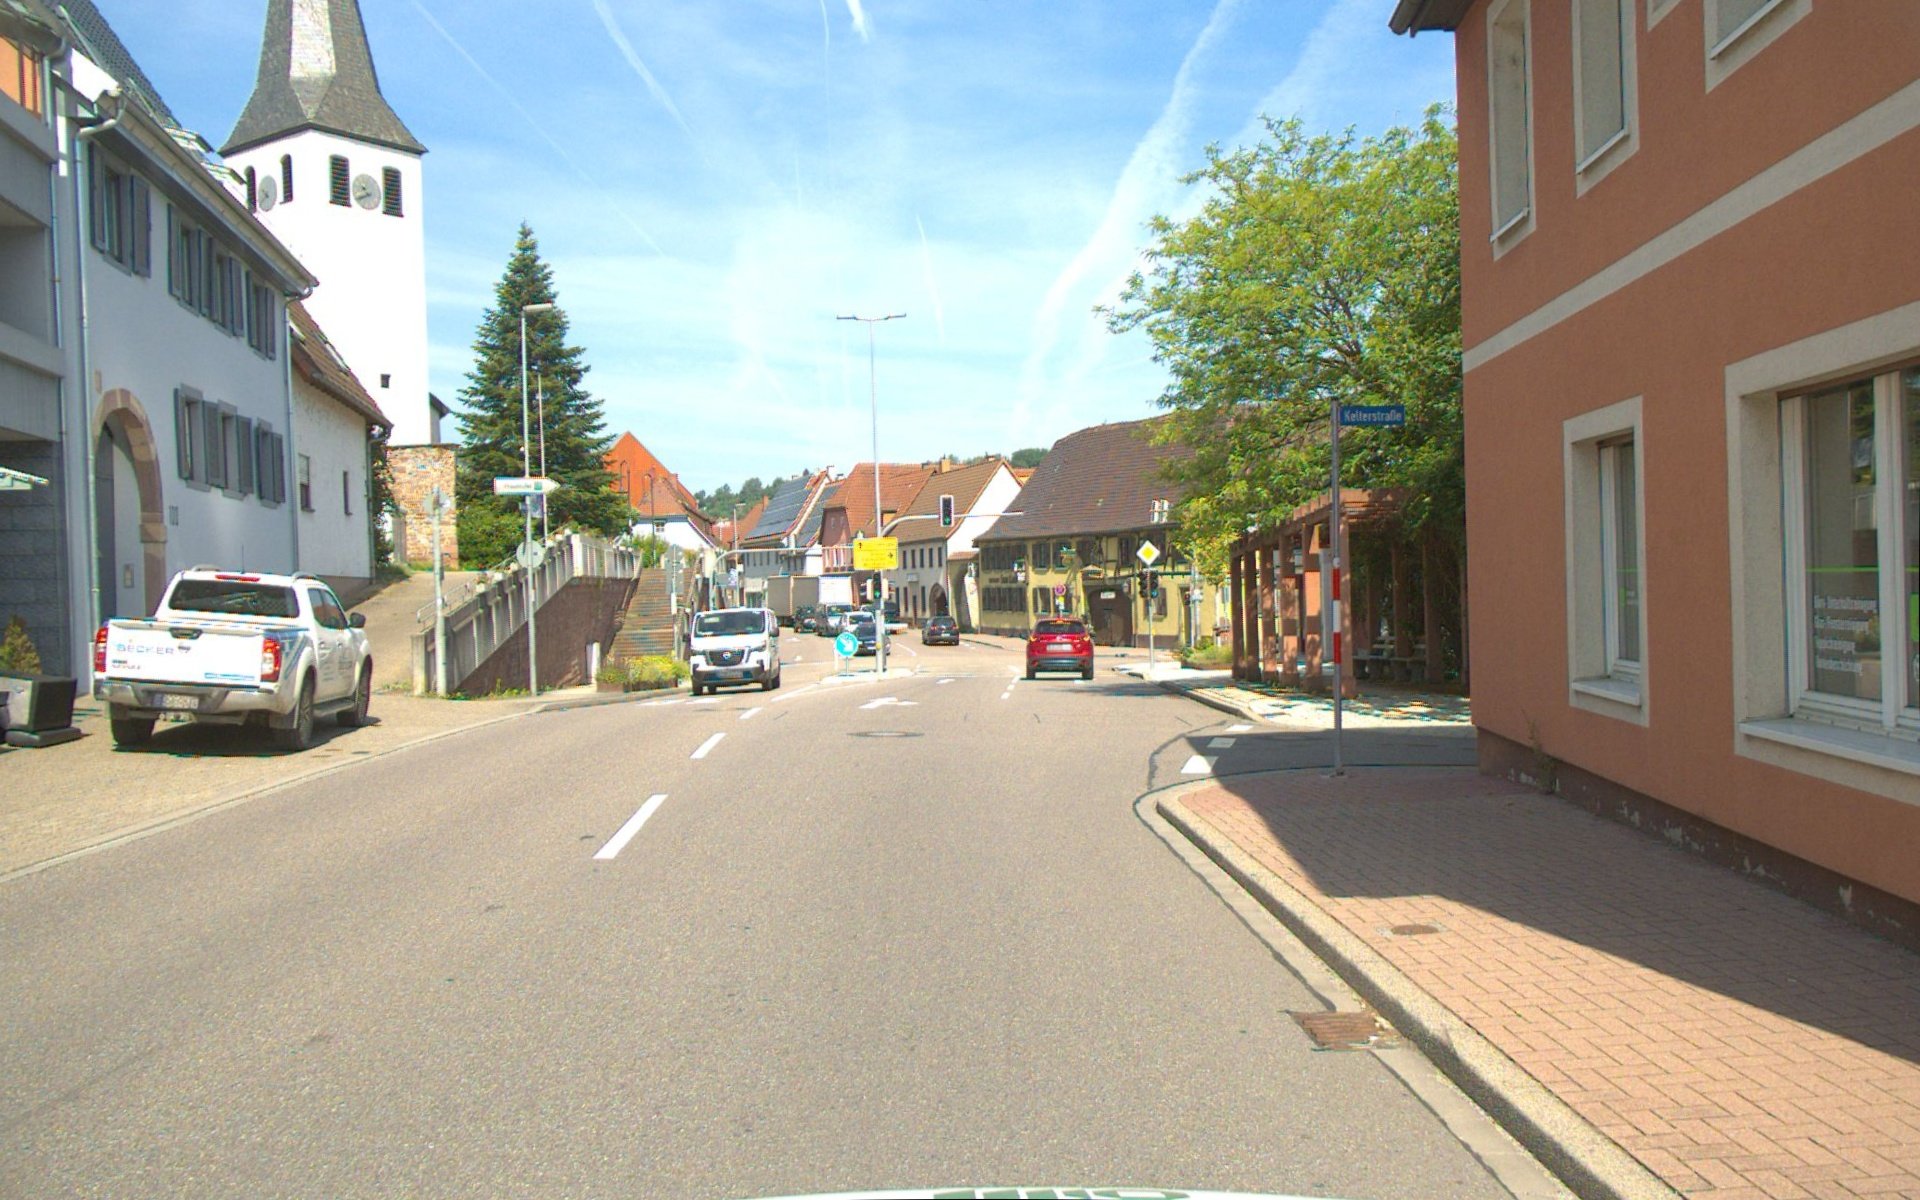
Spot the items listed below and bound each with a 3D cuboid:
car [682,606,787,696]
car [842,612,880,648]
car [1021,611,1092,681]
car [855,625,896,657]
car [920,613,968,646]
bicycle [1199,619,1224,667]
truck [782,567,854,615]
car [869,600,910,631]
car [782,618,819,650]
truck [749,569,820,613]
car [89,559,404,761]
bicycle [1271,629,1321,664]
[{"bbox_3d":[-5.351,1.156,39.845,1.929,1.966,5.311,-2,0,-2],"label":"car"},{"bbox_3d":[-5.877,1.744,97.790,1.787,1.939,4.955,-1,1,-8],"label":"car"},{"bbox_3d":[2.683,1.224,45.348,1.766,1.692,3.815,-2,0,5],"label":"car"},{"bbox_3d":[-4.300,2.072,84.680,1.783,1.459,4.248,-1,0,0],"label":"car"},{"bbox_3d":[-0.939,1.712,95.639,1.791,1.769,3.988,-2,0,-16],"label":"car"},{"bbox_3d":[7.183,1.210,47.331,0.518,1.302,1.993,-4,-1,6],"label":"bicycle"},{"bbox_3d":[-11.259,-0.684,130.281,3.177,3.611,9.172,1,0,-21],"label":"truck"},{"bbox_3d":[-4.865,1.058,114.134,1.818,2.049,3.979,1,0,-18],"label":"car"},{"bbox_3d":[-11.648,2.450,120.545,1.730,2.285,4.529,1,0,-18],"label":"car"},{"bbox_3d":[-14.891,-0.682,139.550,3.115,3.521,10.640,1,-1,-22],"label":"truck"},{"bbox_3d":[-7.664,0.566,18.374,1.771,1.829,5.276,3,0,-8],"label":"car"},{"bbox_3d":[12.676,1.746,62.421,1.765,1.256,0.550,-2,-1,3],"label":"bicycle"}]
